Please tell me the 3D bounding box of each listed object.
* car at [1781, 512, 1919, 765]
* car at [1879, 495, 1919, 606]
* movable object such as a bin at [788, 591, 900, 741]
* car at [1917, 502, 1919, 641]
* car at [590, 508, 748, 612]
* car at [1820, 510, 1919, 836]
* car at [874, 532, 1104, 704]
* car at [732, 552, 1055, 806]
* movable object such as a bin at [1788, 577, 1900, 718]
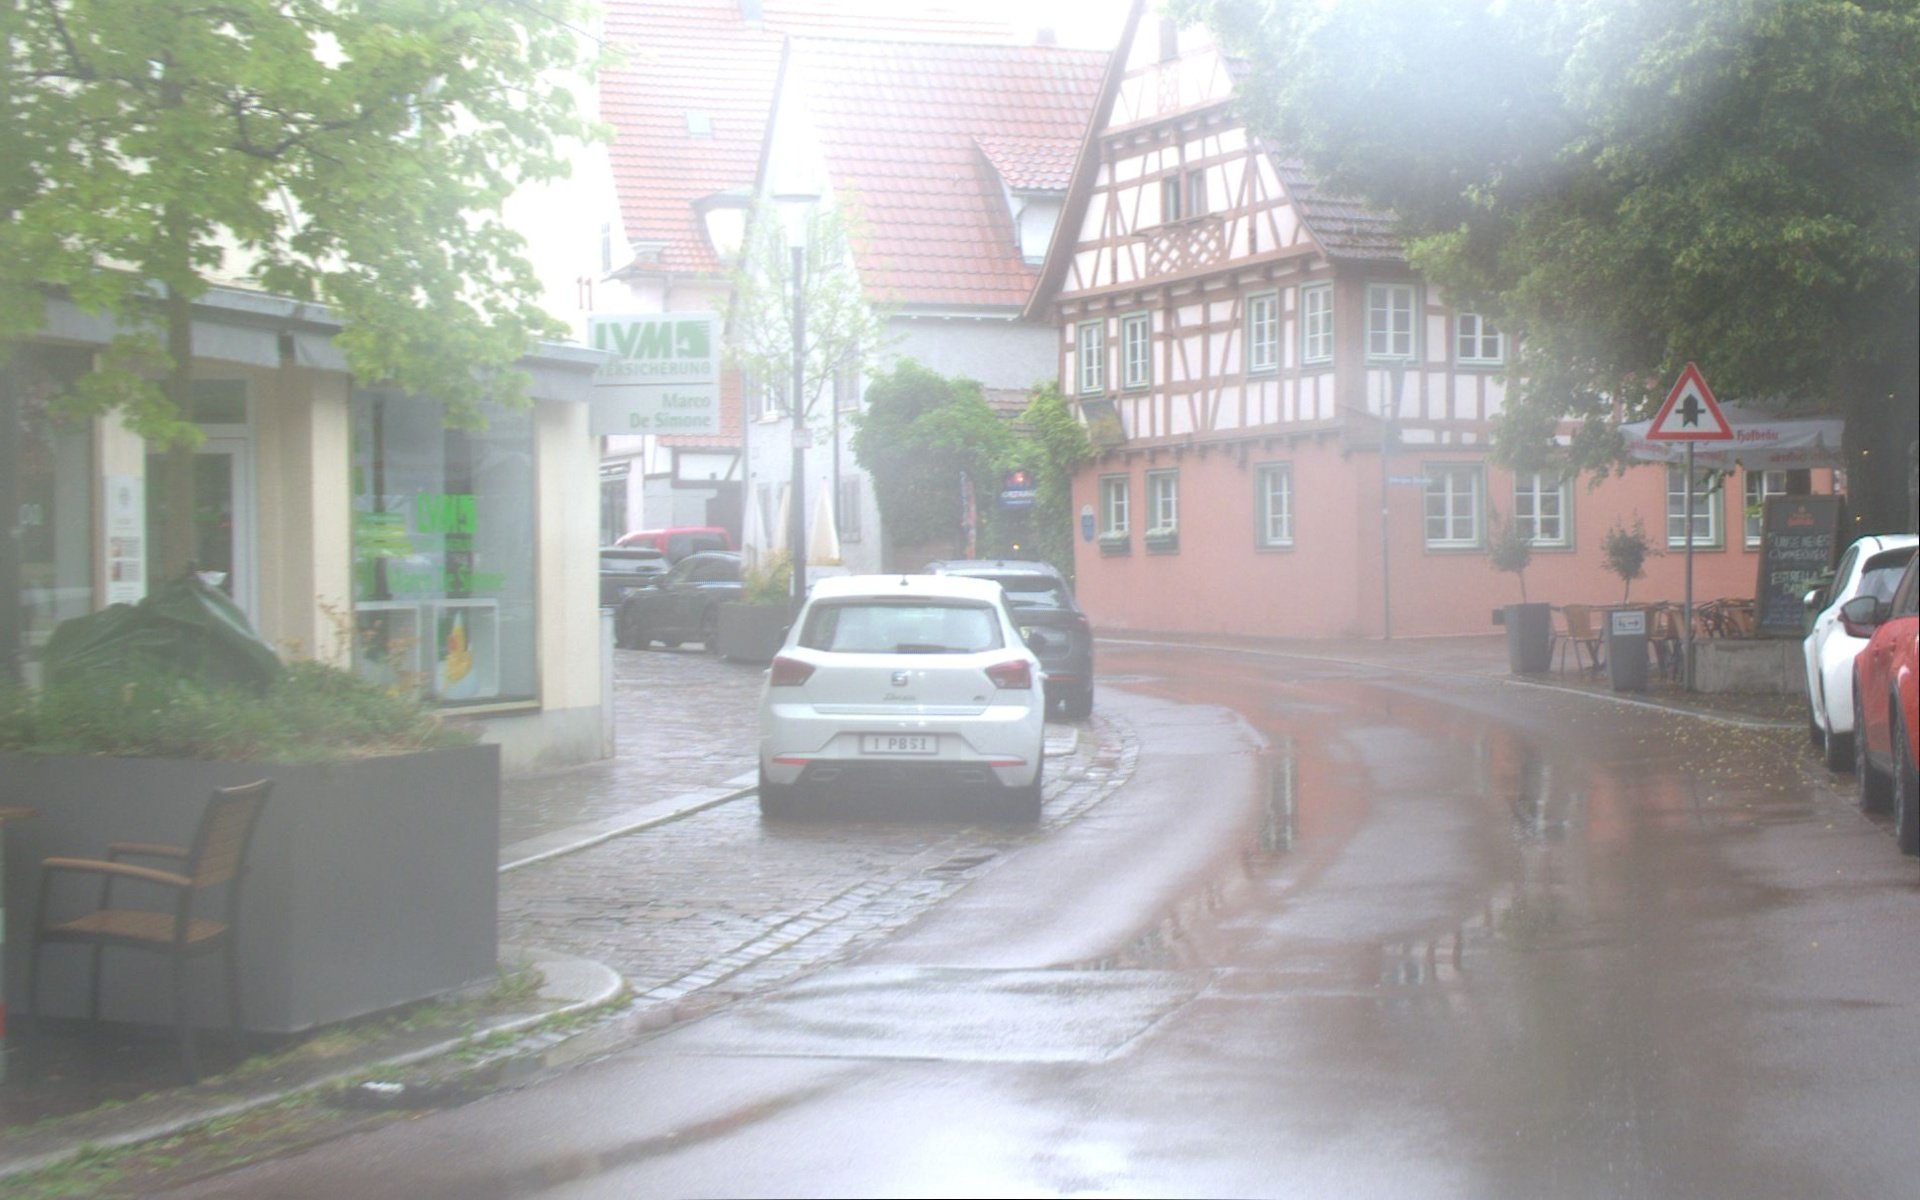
[{"bbox_3d":[6.550,0.210,23.051,1.788,1.550,3.948,-1,0,10],"label":"car"},{"bbox_3d":[16.441,-0.789,52.107,4.600,1.627,2.001,-2,3,-23],"label":"car"},{"bbox_3d":[-0.892,0.508,26.632,0.700,1.118,0.718,3,-1,9],"label":"movable object such as a bin"},{"bbox_3d":[4.565,0.395,11.846,1.788,1.593,4.439,-1,0,7],"label":"car"},{"bbox_3d":[-5.431,-0.765,63.755,1.893,1.805,4.001,2,1,-20],"label":"car"},{"bbox_3d":[5.414,0.362,17.278,1.788,1.463,3.948,0,-1,9],"label":"car"},{"bbox_3d":[0.208,0.196,33.130,1.875,1.535,4.400,0,-1,-4],"label":"car"},{"bbox_3d":[-0.339,0.462,21.755,1.849,1.447,4.072,0,0,1],"label":"car"},{"bbox_3d":[6.860,0.366,26.696,0.725,1.079,0.605,0,-1,1],"label":"movable object such as a bin"}]
